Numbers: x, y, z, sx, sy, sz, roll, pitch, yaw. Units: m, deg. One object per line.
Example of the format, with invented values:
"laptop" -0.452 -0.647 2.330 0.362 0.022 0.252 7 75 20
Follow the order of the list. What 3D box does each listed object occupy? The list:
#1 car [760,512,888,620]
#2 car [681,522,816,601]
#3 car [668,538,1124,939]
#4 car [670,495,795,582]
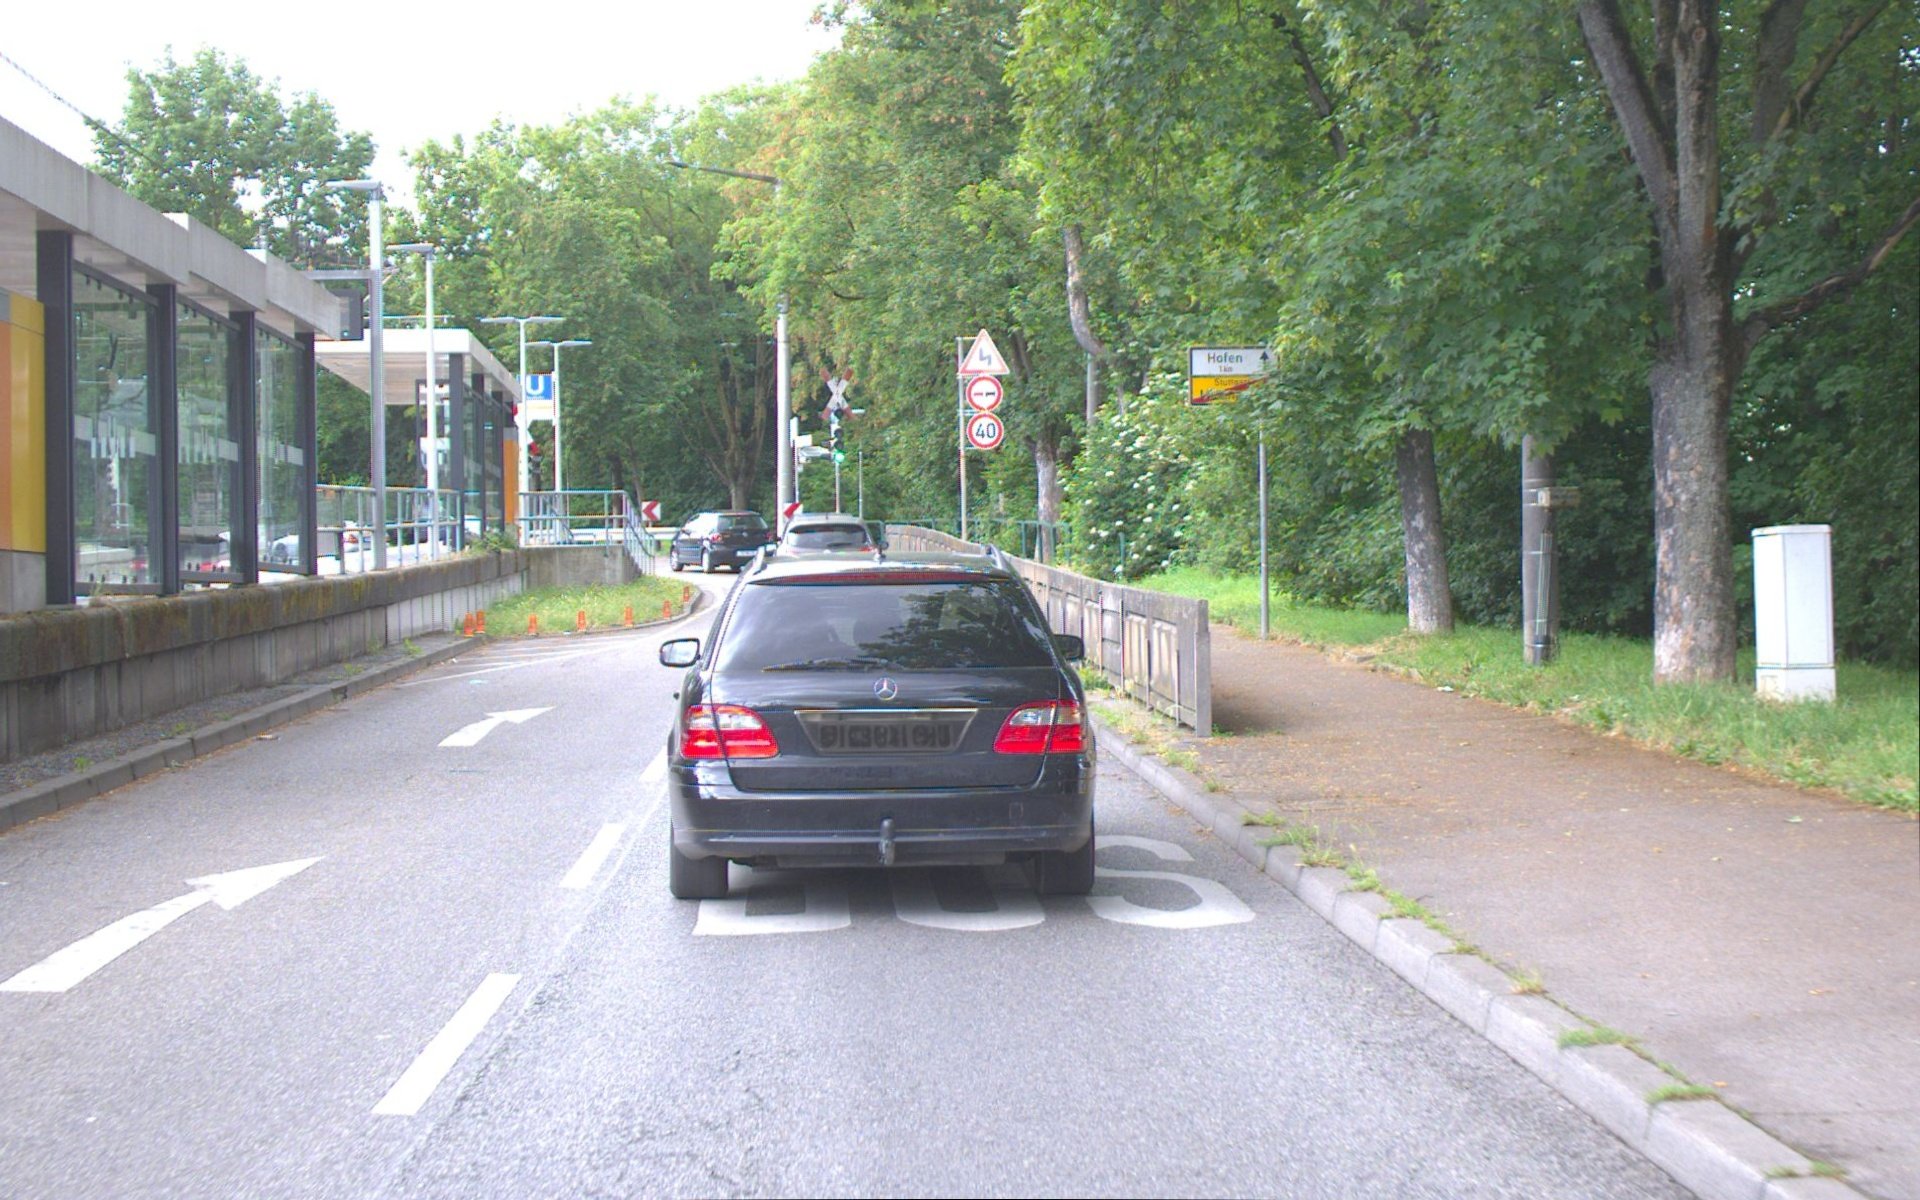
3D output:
"car" -2.199 -0.560 54.617 1.781 1.642 4.001 0 1 -6
"car" -3.962 -0.738 63.827 1.993 1.394 4.001 -1 2 -11
"car" -0.397 0.503 15.405 1.781 1.520 4.001 0 1 -4
"car" -5.312 -1.401 79.784 1.993 1.912 4.001 2 0 -17
